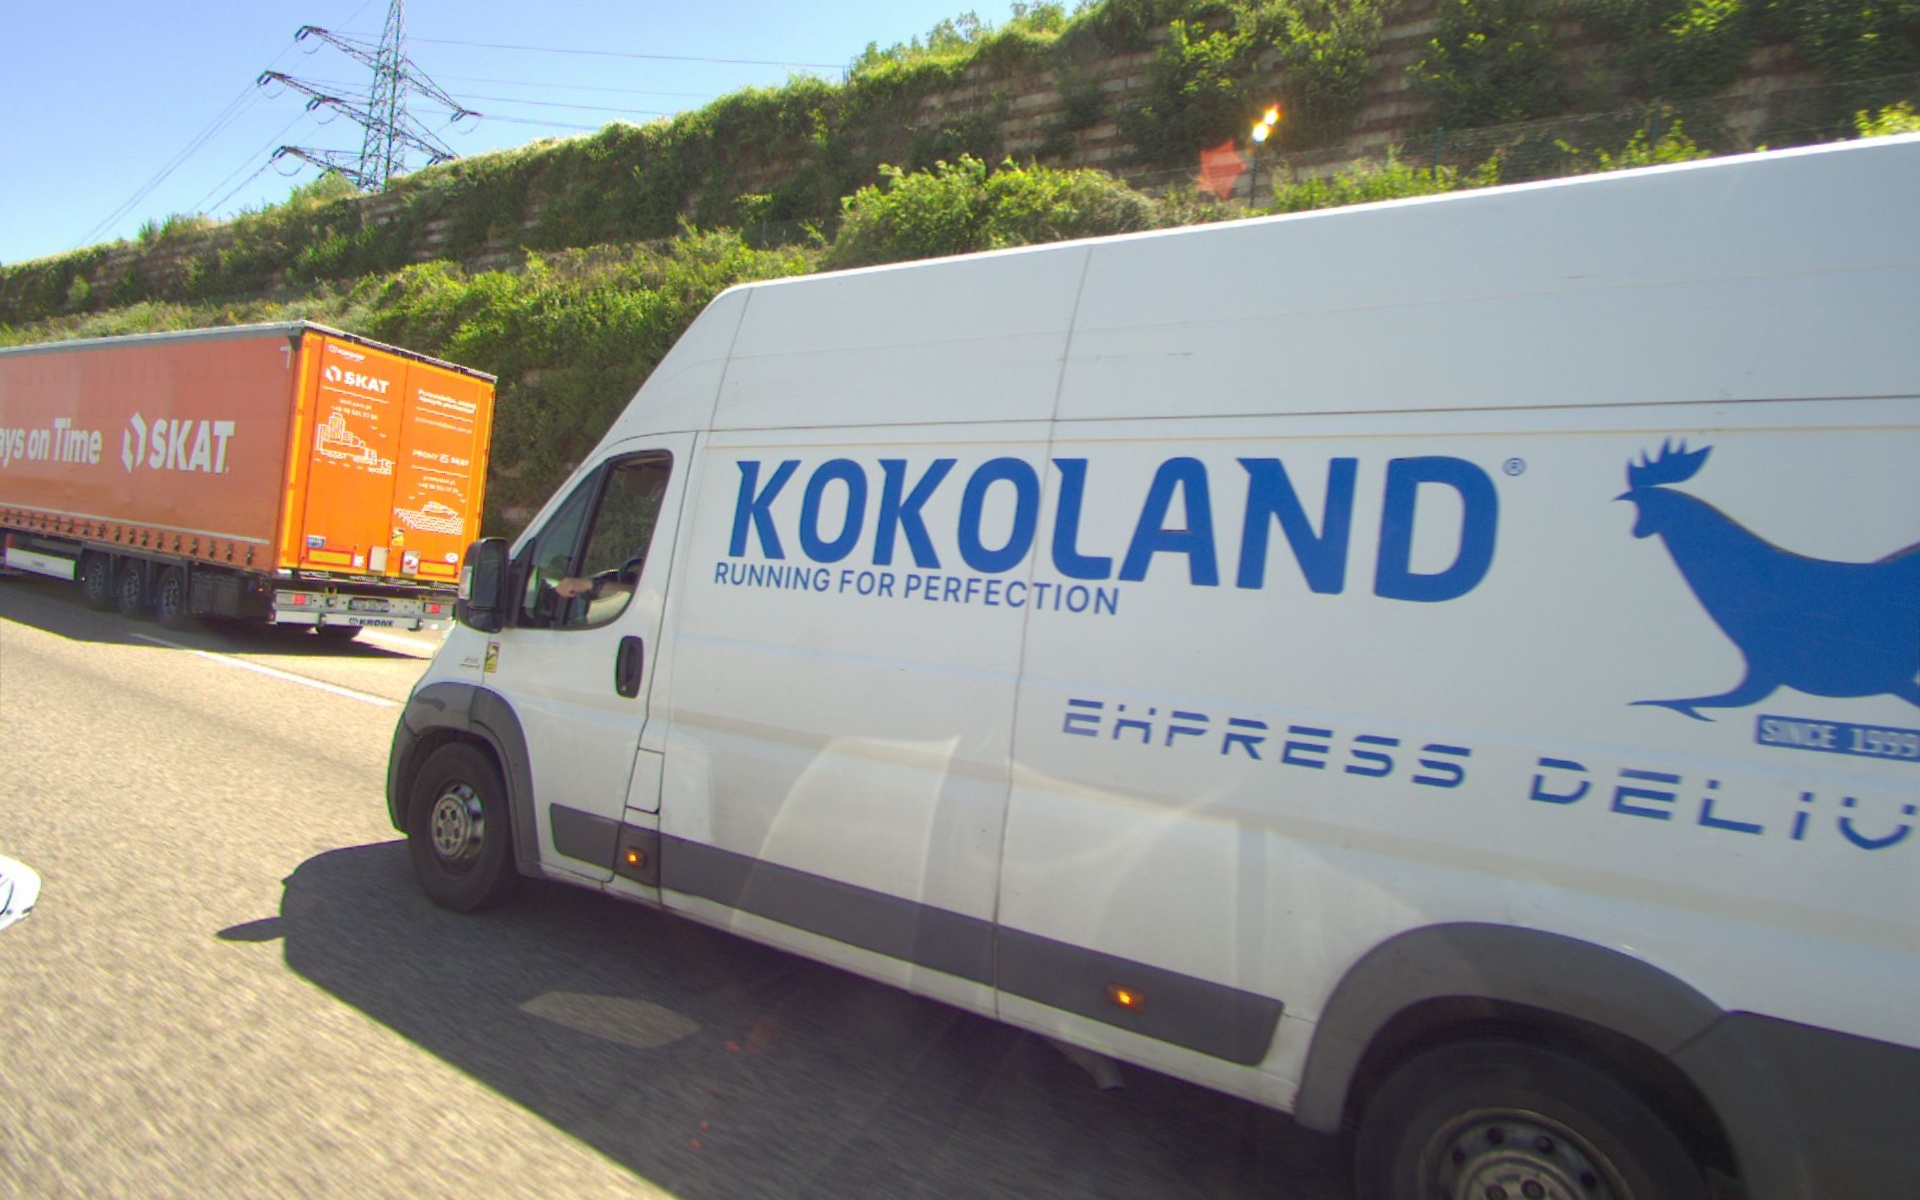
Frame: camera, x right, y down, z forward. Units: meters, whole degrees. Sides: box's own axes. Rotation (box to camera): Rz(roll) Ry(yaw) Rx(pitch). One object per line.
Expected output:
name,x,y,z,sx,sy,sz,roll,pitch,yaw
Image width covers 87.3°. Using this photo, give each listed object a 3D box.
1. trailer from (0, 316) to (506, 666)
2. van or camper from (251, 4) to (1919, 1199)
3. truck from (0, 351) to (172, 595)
trailer,-12.896,-1.844,16.457,13.380,4.053,2.649,7,0,32
van or camper,0.062,0.127,4.058,6.644,2.803,2.099,7,0,31
truck,-18.924,-2.522,20.144,6.418,4.041,2.621,7,0,32
